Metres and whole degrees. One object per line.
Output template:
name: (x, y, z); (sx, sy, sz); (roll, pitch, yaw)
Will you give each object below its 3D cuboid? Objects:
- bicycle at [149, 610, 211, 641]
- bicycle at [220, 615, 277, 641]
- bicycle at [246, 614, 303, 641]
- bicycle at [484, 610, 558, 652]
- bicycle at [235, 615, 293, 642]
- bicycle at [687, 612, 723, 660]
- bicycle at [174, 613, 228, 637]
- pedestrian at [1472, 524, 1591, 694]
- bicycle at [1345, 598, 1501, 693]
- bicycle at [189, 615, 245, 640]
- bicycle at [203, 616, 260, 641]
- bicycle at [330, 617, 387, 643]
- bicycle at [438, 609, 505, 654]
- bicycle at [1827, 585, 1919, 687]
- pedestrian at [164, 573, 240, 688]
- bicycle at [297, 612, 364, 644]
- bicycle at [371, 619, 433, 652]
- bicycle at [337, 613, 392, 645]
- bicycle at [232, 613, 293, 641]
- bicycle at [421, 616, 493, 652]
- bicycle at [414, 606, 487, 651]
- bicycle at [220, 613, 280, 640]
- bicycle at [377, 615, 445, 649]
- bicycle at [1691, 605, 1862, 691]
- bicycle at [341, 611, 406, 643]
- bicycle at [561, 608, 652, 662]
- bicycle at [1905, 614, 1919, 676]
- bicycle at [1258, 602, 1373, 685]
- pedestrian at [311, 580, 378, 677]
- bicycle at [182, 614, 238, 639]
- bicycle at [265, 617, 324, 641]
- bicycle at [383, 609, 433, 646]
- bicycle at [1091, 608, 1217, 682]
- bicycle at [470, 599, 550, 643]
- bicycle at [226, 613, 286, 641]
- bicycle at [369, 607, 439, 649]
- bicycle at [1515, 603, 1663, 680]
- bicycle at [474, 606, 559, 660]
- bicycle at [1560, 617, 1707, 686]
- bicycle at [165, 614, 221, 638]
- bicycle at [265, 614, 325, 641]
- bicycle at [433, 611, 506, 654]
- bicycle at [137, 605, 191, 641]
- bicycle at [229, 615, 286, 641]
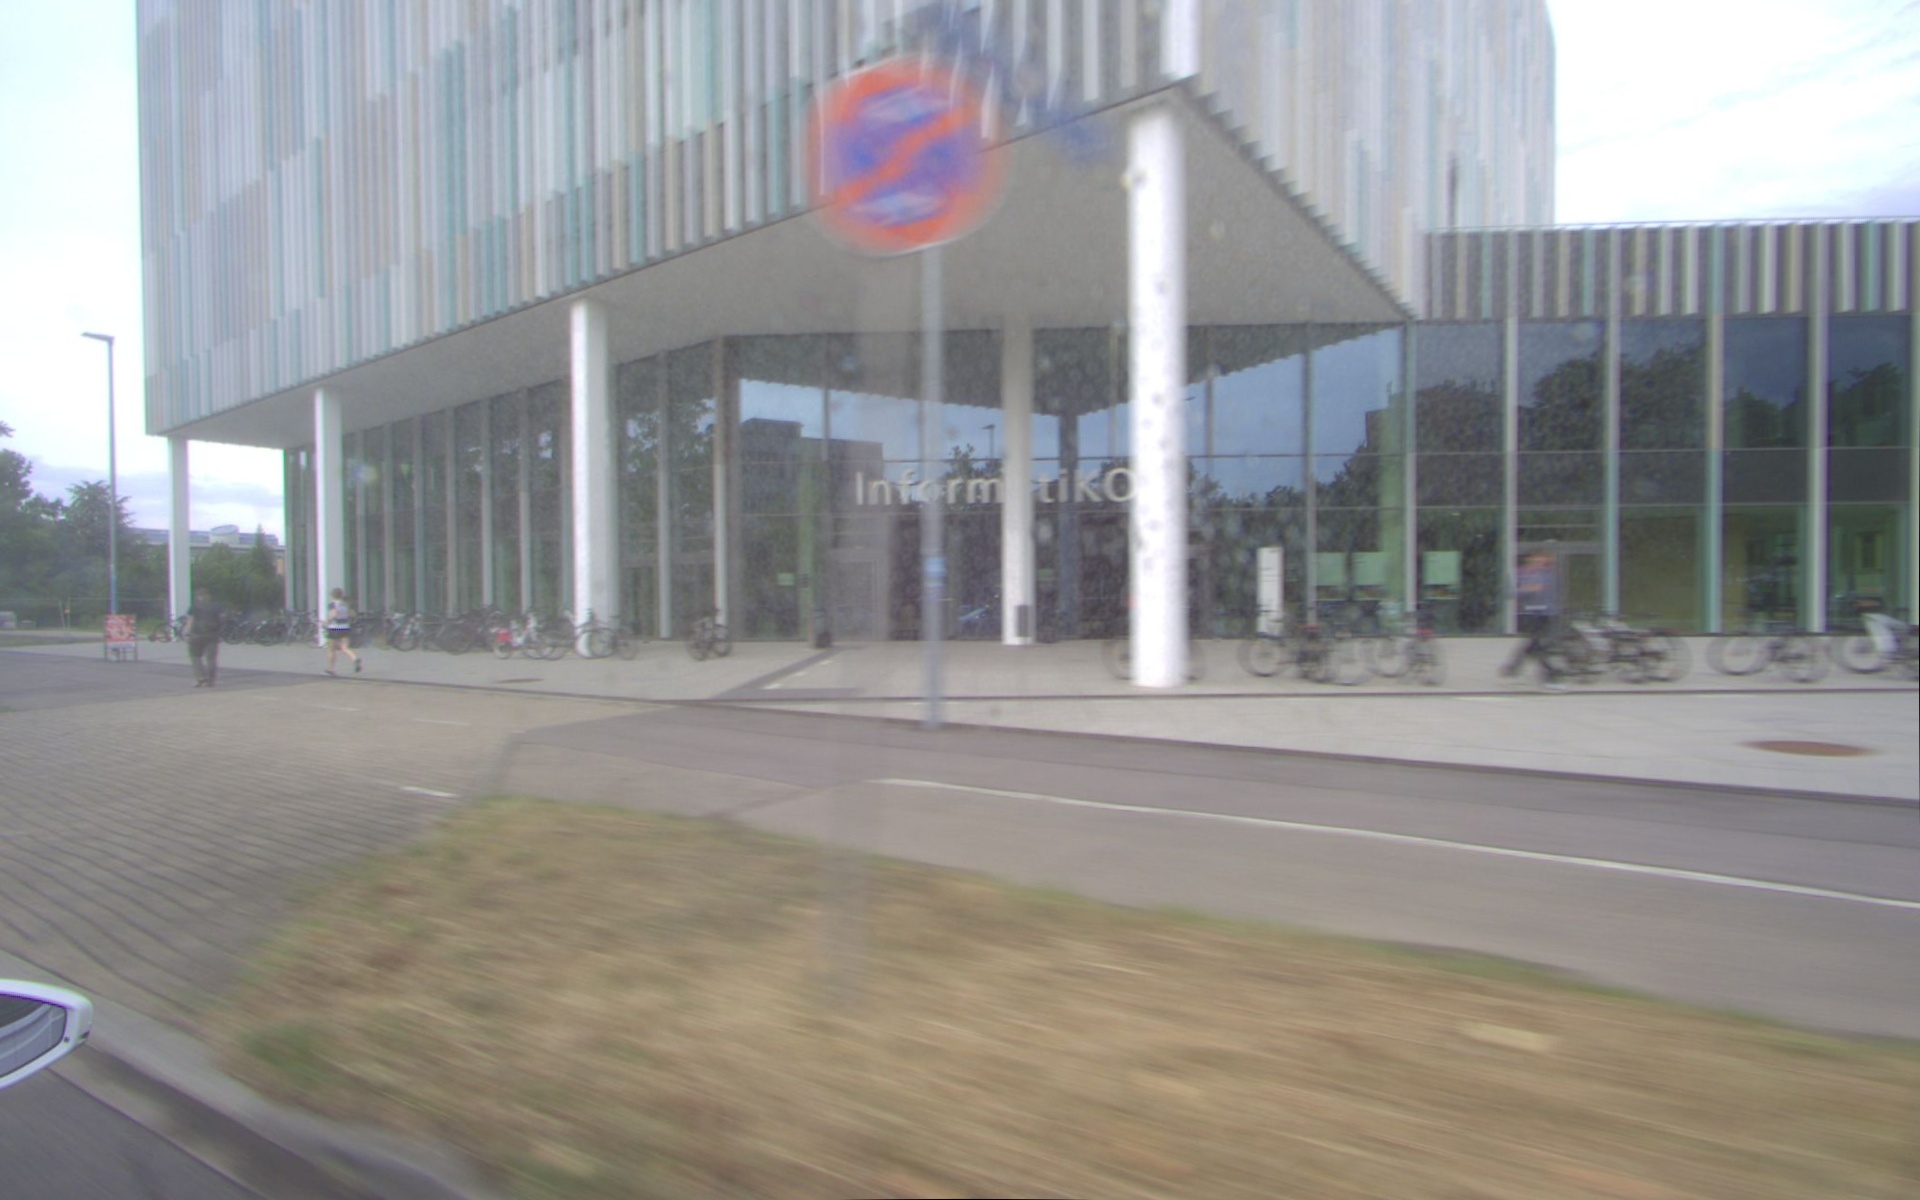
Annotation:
bicycle: (-30.887, 1.005, 39.672); (0.618, 1.097, 1.788); (0, 2, 35)
bicycle: (-26.039, 1.030, 36.683); (0.549, 0.886, 1.600); (0, 1, 37)
bicycle: (-23.026, 0.916, 33.646); (0.549, 0.850, 1.449); (0, 1, 37)
bicycle: (-11.220, 0.785, 25.625); (1.594, 0.949, 0.563); (-4, 4, -43)
bicycle: (-24.848, 0.994, 35.761); (0.549, 0.886, 1.600); (0, 1, 37)
bicycle: (-5.426, 0.752, 21.344); (0.432, 0.942, 1.488); (1, 1, -2)
bicycle: (-29.764, 0.959, 39.295); (0.548, 0.886, 1.602); (0, 0, 33)
pedestrian: (7.517, 0.135, 13.168); (1.172, 2.089, 1.126); (0, -1, 41)
bicycle: (6.467, 0.584, 14.208); (0.759, 1.203, 2.719); (-1, 0, -5)
bicycle: (-27.978, 1.028, 37.723); (0.549, 0.886, 1.600); (0, 1, 37)
bicycle: (-27.082, 1.050, 37.248); (0.549, 0.886, 1.600); (0, 1, 37)
bicycle: (-18.889, 0.933, 31.457); (0.549, 0.756, 1.429); (0, 1, 37)
bicycle: (-12.429, 0.791, 25.508); (0.552, 1.058, 1.394); (0, 2, 37)
bicycle: (13.211, 0.463, 14.126); (0.634, 1.324, 2.005); (1, 2, 15)
pedestrian: (-13.924, 0.535, 18.396); (0.883, 2.041, 0.839); (0, 3, 38)
bicycle: (-18.745, 0.830, 29.837); (0.549, 0.886, 1.600); (0, 1, 37)
bicycle: (-16.496, 1.043, 29.633); (0.362, 0.908, 1.600); (0, 0, 37)
bicycle: (-17.764, 0.858, 29.881); (0.549, 0.886, 1.278); (0, 1, 37)
bicycle: (-23.606, 0.896, 33.923); (0.549, 0.886, 1.600); (0, 1, 37)
bicycle: (-13.229, 0.878, 26.365); (0.549, 0.886, 1.600); (0, 0, 37)
bicycle: (-13.820, 0.762, 27.201); (0.566, 1.106, 1.633); (0, 3, 45)
bicycle: (-24.798, 0.918, 34.998); (0.549, 0.886, 1.600); (0, 1, 37)
bicycle: (-15.418, 0.893, 28.157); (0.549, 0.886, 1.600); (0, 0, 37)
bicycle: (11.242, 0.619, 13.909); (0.767, 1.020, 2.190); (0, 2, 7)
bicycle: (-18.291, 0.822, 31.248); (0.511, 0.959, 1.682); (0, 0, 43)
bicycle: (-7.579, 0.739, 21.453); (1.931, 1.095, 0.607); (-1, 2, 26)
bicycle: (14.274, 0.656, 14.118); (0.387, 0.911, 1.472); (-1, 0, -7)
bicycle: (5.206, 0.597, 14.829); (0.722, 1.130, 2.182); (-1, 0, -6)
pedestrian: (-12.140, 0.545, 19.757); (0.882, 1.860, 0.840); (0, 1, 35)
bicycle: (-28.476, 1.007, 38.025); (0.549, 0.886, 1.600); (0, 1, 37)
bicycle: (-22.244, 0.964, 33.492); (0.549, 0.726, 1.554); (0, 1, 37)
bicycle: (-16.458, 0.818, 29.874); (0.430, 1.064, 1.191); (0, 2, 43)
bicycle: (2.947, 0.667, 15.338); (1.819, 1.075, 0.635); (-1, -2, 42)
bicycle: (-12.853, 0.599, 28.646); (1.951, 1.160, 0.647); (-2, 2, -12)
bicycle: (-24.342, 0.914, 34.644); (0.549, 0.886, 1.600); (0, 1, 37)
bicycle: (-15.981, 0.801, 28.808); (0.565, 1.117, 1.636); (0, 2, 40)
bicycle: (8.915, 0.556, 14.299); (0.759, 1.015, 1.959); (-1, 0, -5)
bicycle: (-10.080, 0.732, 22.725); (2.170, 1.156, 0.634); (-1, 3, 33)
bicycle: (9.717, 0.713, 14.544); (0.659, 0.911, 1.844); (-1, 0, -12)
bicycle: (-29.350, 0.983, 38.336); (0.549, 0.886, 1.600); (0, 0, 37)
bicycle: (-21.860, 0.892, 32.932); (0.549, 0.845, 1.526); (0, 1, 37)
bicycle: (-12.740, 0.819, 26.032); (0.549, 0.996, 1.599); (0, 3, 37)
bicycle: (-32.330, 0.930, 40.671); (1.634, 1.351, 0.459); (-4, 3, -41)
bicycle: (-25.298, 1.005, 36.095); (0.509, 0.896, 1.598); (0, 0, 36)
